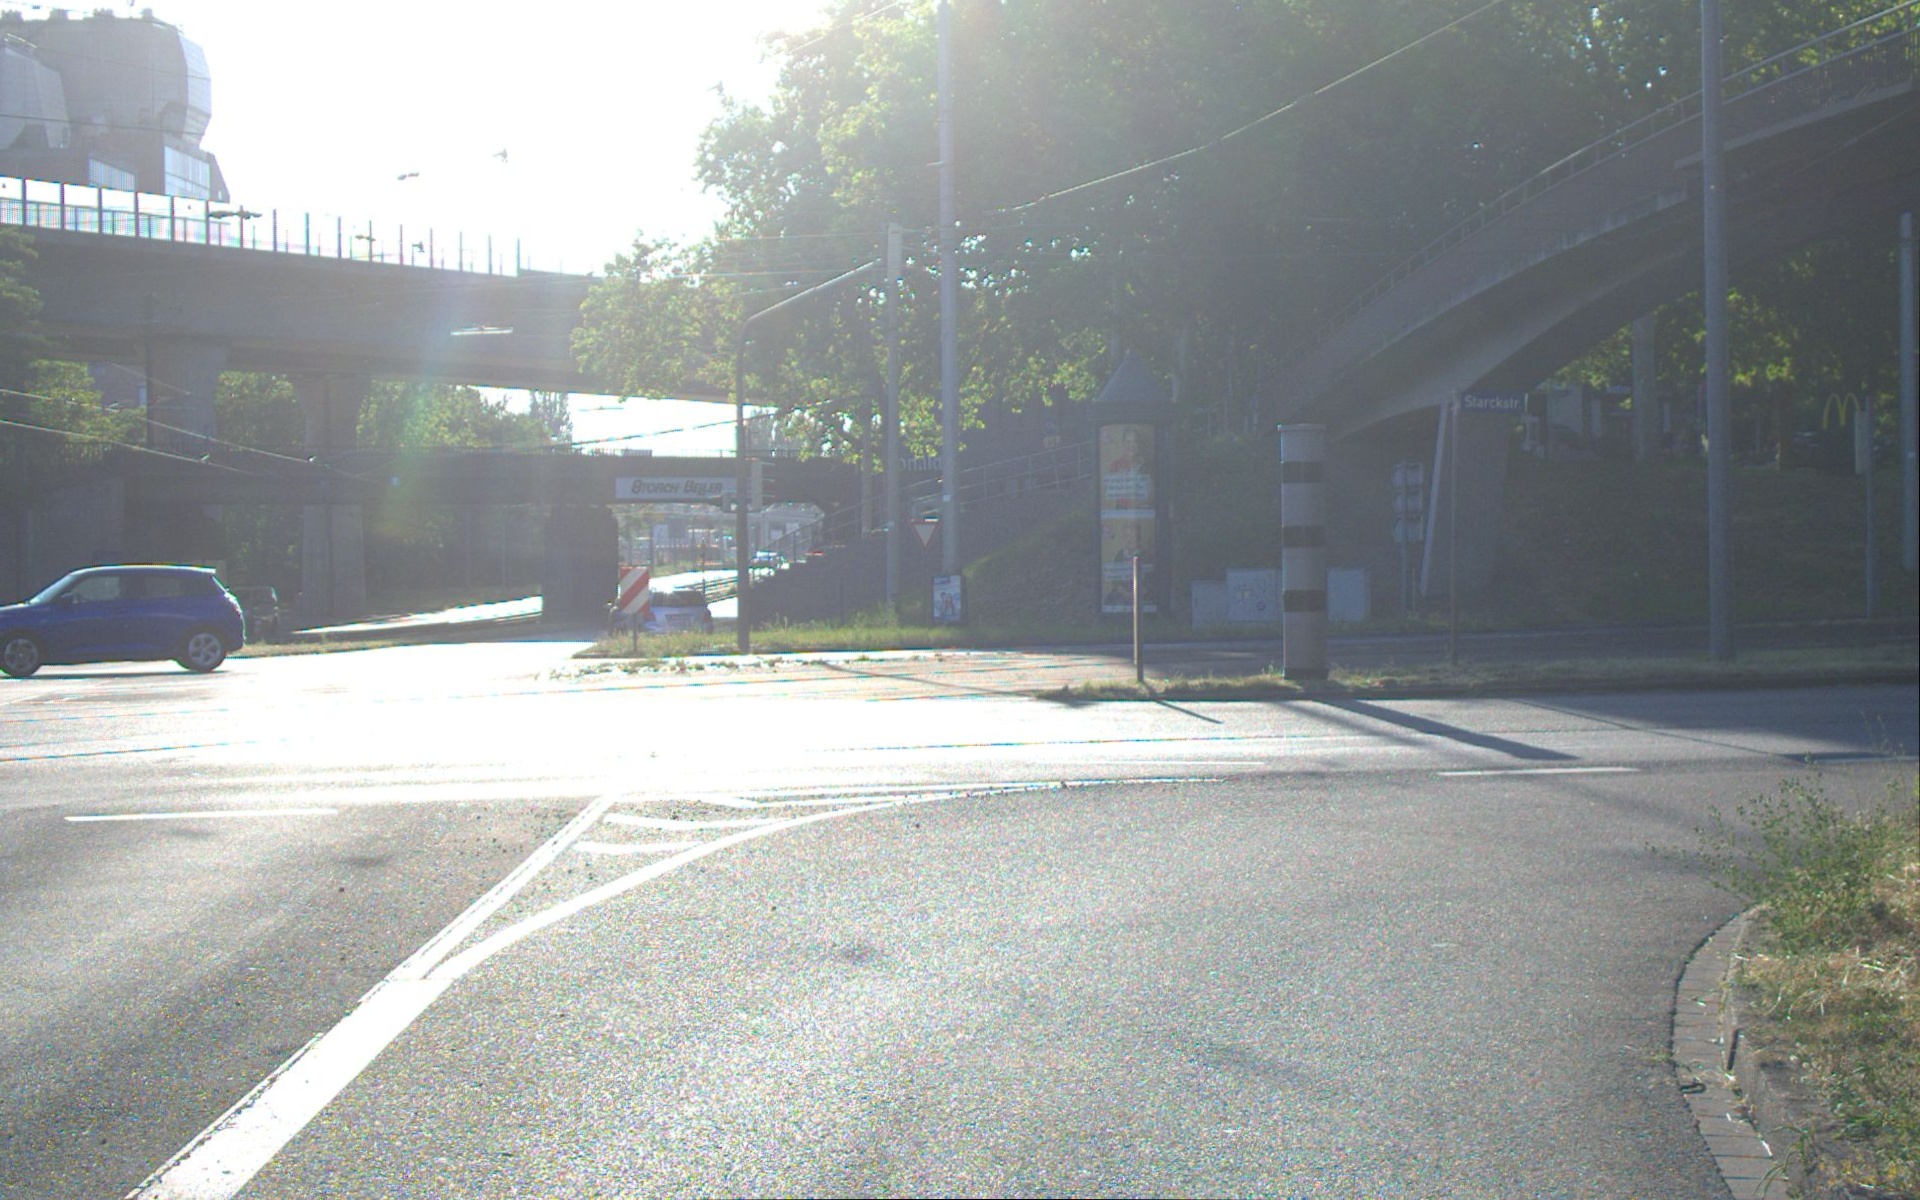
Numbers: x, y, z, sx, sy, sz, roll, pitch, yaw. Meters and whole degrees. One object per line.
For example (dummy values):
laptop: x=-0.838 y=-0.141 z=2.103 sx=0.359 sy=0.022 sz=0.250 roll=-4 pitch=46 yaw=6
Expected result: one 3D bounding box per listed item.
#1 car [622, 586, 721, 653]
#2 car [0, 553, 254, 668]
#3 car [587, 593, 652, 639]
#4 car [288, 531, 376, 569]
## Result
car: x=-7.429 y=0.475 z=88.216 sx=1.710 sy=1.647 sz=4.220 roll=0 pitch=1 yaw=-16
car: x=-11.881 y=0.129 z=47.798 sx=3.921 sy=1.553 sz=2.001 roll=0 pitch=1 yaw=-16
car: x=-10.955 y=0.507 z=110.894 sx=1.691 sy=1.417 sz=4.151 roll=0 pitch=1 yaw=0
car: x=-30.206 y=-2.412 z=165.538 sx=1.997 sy=1.765 sz=3.993 roll=1 pitch=0 yaw=32
